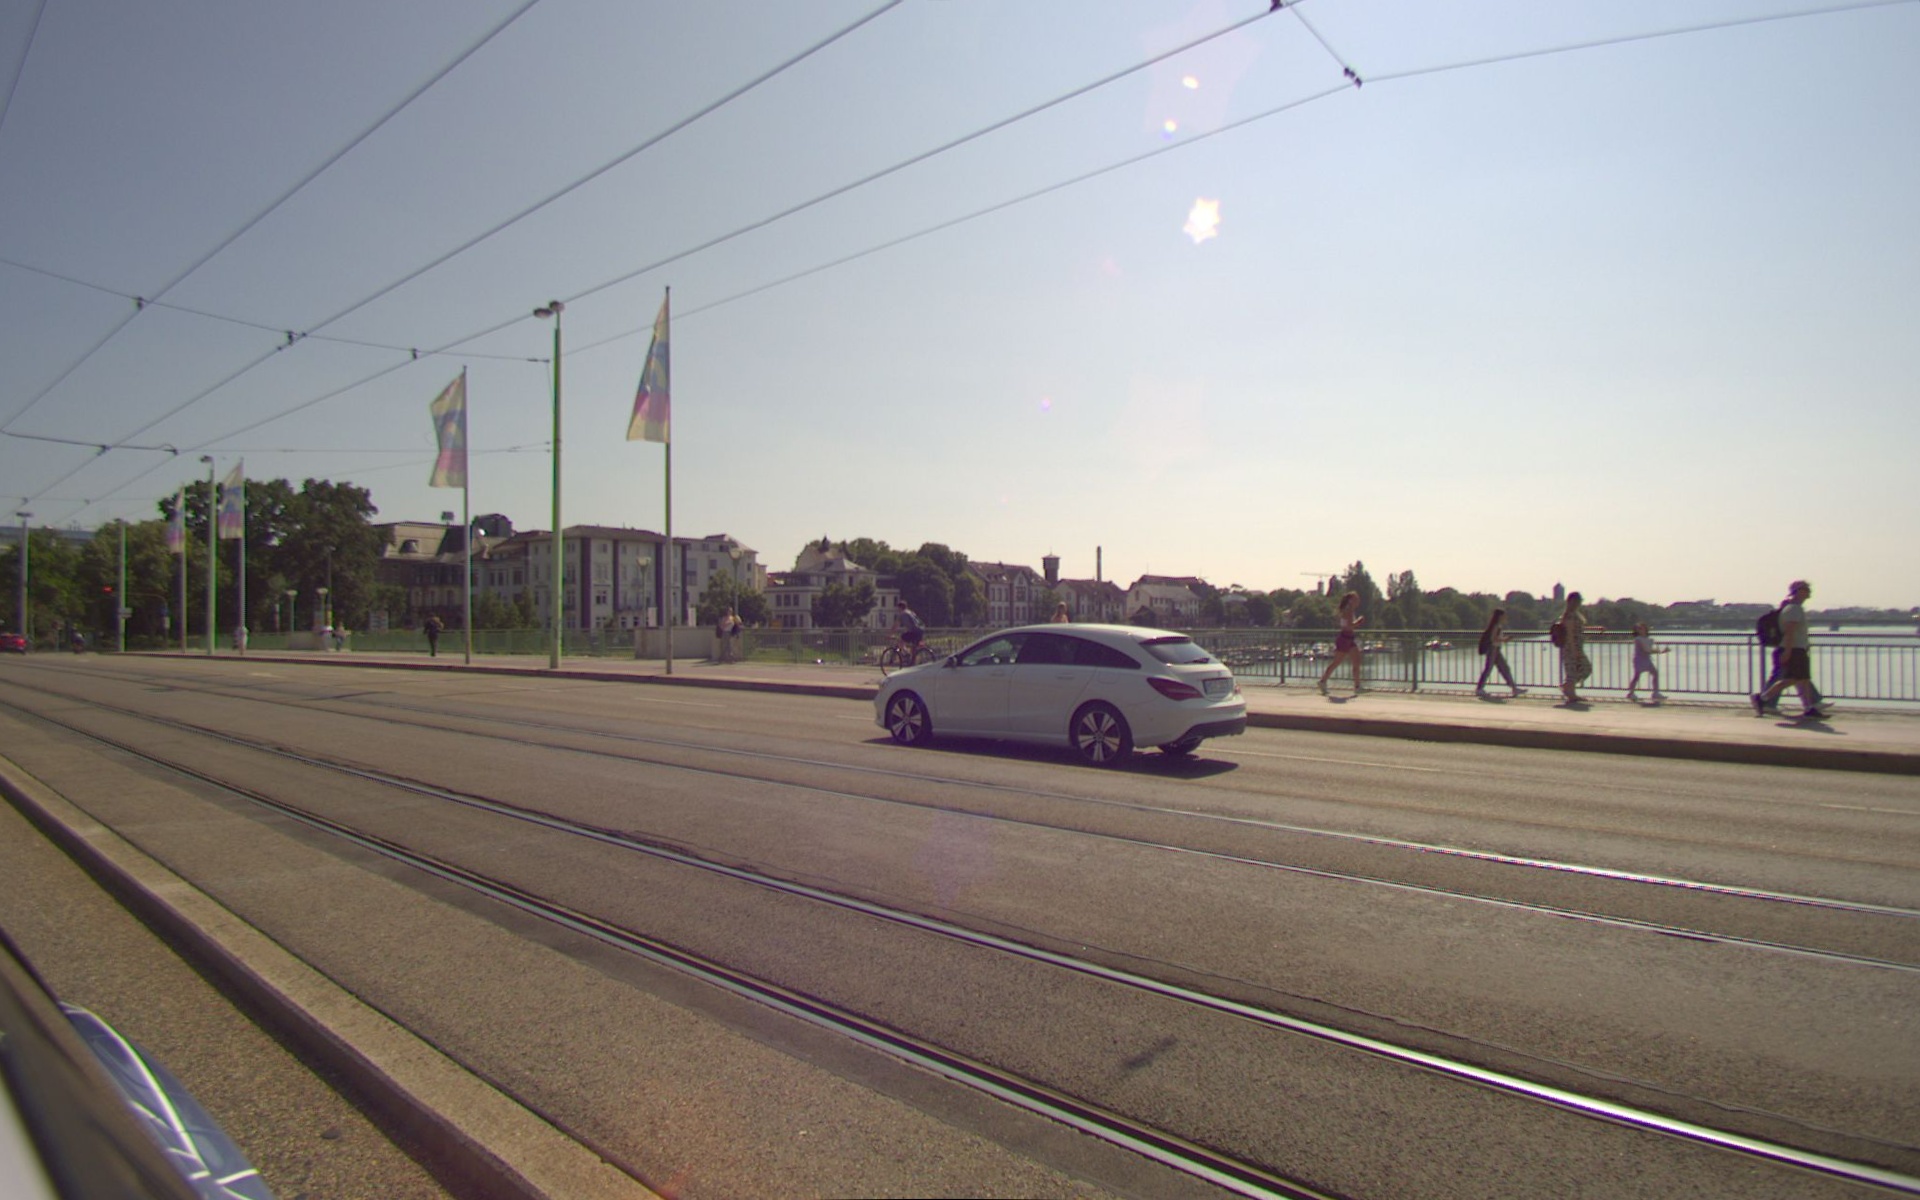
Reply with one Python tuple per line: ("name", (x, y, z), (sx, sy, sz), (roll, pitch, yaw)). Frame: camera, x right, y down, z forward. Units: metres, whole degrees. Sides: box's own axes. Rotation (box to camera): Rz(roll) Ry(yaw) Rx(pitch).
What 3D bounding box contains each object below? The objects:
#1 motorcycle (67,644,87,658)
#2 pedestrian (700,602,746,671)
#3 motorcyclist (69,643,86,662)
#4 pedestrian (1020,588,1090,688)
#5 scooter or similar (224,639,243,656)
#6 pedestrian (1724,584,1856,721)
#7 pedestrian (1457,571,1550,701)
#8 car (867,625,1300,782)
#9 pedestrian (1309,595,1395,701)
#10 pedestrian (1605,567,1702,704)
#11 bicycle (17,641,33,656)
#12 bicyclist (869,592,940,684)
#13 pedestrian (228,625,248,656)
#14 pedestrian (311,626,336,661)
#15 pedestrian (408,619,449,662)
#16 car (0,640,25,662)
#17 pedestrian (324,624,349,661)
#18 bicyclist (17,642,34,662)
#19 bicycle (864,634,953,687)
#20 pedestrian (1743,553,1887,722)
("motorcycle", (-67.509, 3.872, 77.378), (1.950, 1.032, 0.836), (-2, -1, 40))
("pedestrian", (-7.084, 1.095, 30.251), (1.040, 2.029, 0.890), (-2, -2, 38))
("motorcyclist", (-67.422, 4.002, 77.296), (0.897, 1.412, 0.837), (-2, -1, 38))
("pedestrian", (1.997, 0.791, 21.188), (1.099, 2.029, 0.960), (-2, -2, 35))
("scooter or similar", (-45.851, 3.007, 63.861), (0.831, 1.037, 0.732), (-2, 1, 38))
("pedestrian", (11.247, 0.698, 13.776), (1.293, 1.742, 1.087), (-2, -2, 38))
("pedestrian", (8.938, 0.589, 16.648), (1.127, 2.029, 1.087), (-2, -2, 38))
("car", (1.231, 1.008, 11.424), (4.545, 1.420, 1.973), (-2, -3, 41))
("pedestrian", (6.674, 0.801, 17.243), (1.174, 1.735, 0.747), (-1, -1, 38))
("pedestrian", (10.787, 0.548, 15.743), (1.127, 2.029, 1.087), (-2, -2, 38))
("bicycle", (-74.420, 3.883, 80.550), (1.920, 1.122, 0.750), (-5, -2, 43))
("bicyclist", (-1.238, 0.831, 22.501), (1.127, 1.976, 1.087), (-2, -2, 38))
("pedestrian", (-45.162, 2.558, 63.289), (0.974, 1.867, 0.732), (-2, 1, 38))
("pedestrian", (-33.145, 2.264, 52.708), (0.956, 1.797, 0.732), (-2, 1, 38))
("pedestrian", (-22.118, 1.685, 42.115), (1.293, 1.772, 1.087), (-2, -2, 38))
("car", (-69.624, 3.691, 73.710), (4.191, 1.526, 1.971), (-2, -1, 44))
("pedestrian", (-32.754, 2.239, 53.172), (1.120, 1.862, 0.732), (-2, 1, 38))
("bicyclist", (-74.388, 4.146, 80.542), (0.772, 1.621, 0.867), (-4, -5, 43))
("bicycle", (-1.164, 1.327, 22.415), (2.110, 1.105, 0.583), (-2, -2, 39))
("pedestrian", (10.943, 0.475, 13.023), (1.293, 2.029, 1.087), (-2, -2, 38))
